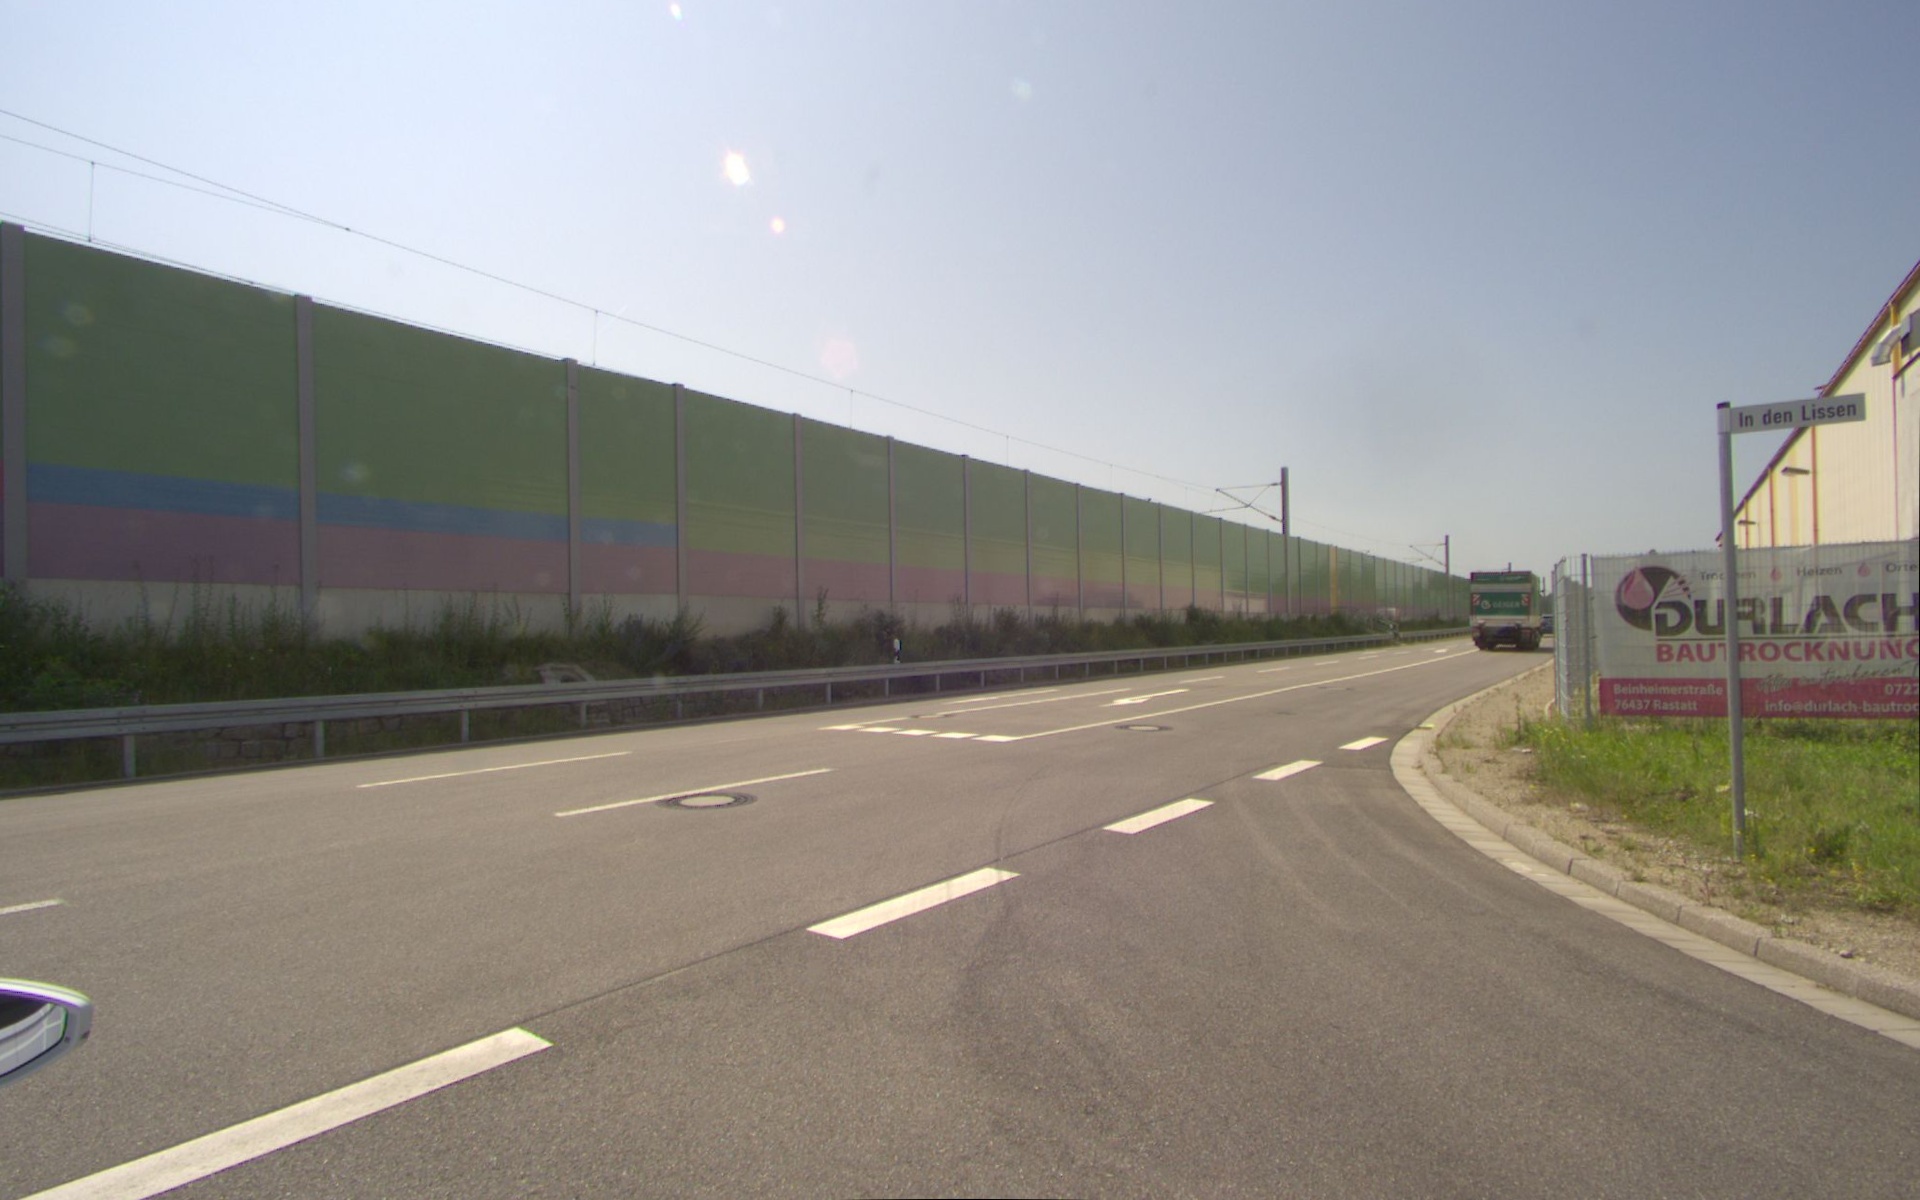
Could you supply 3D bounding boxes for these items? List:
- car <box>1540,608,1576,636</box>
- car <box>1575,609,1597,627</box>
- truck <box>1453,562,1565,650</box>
[{"bbox_3d":[45.051,1.680,75.455,1.974,2.039,3.976,-1,-2,36],"label":"car"},{"bbox_3d":[73.223,2.149,117.086,1.974,2.039,3.976,-1,-2,36],"label":"car"},{"bbox_3d":[27.889,0.472,50.516,3.520,3.927,11.344,-1,-2,36],"label":"truck"}]
